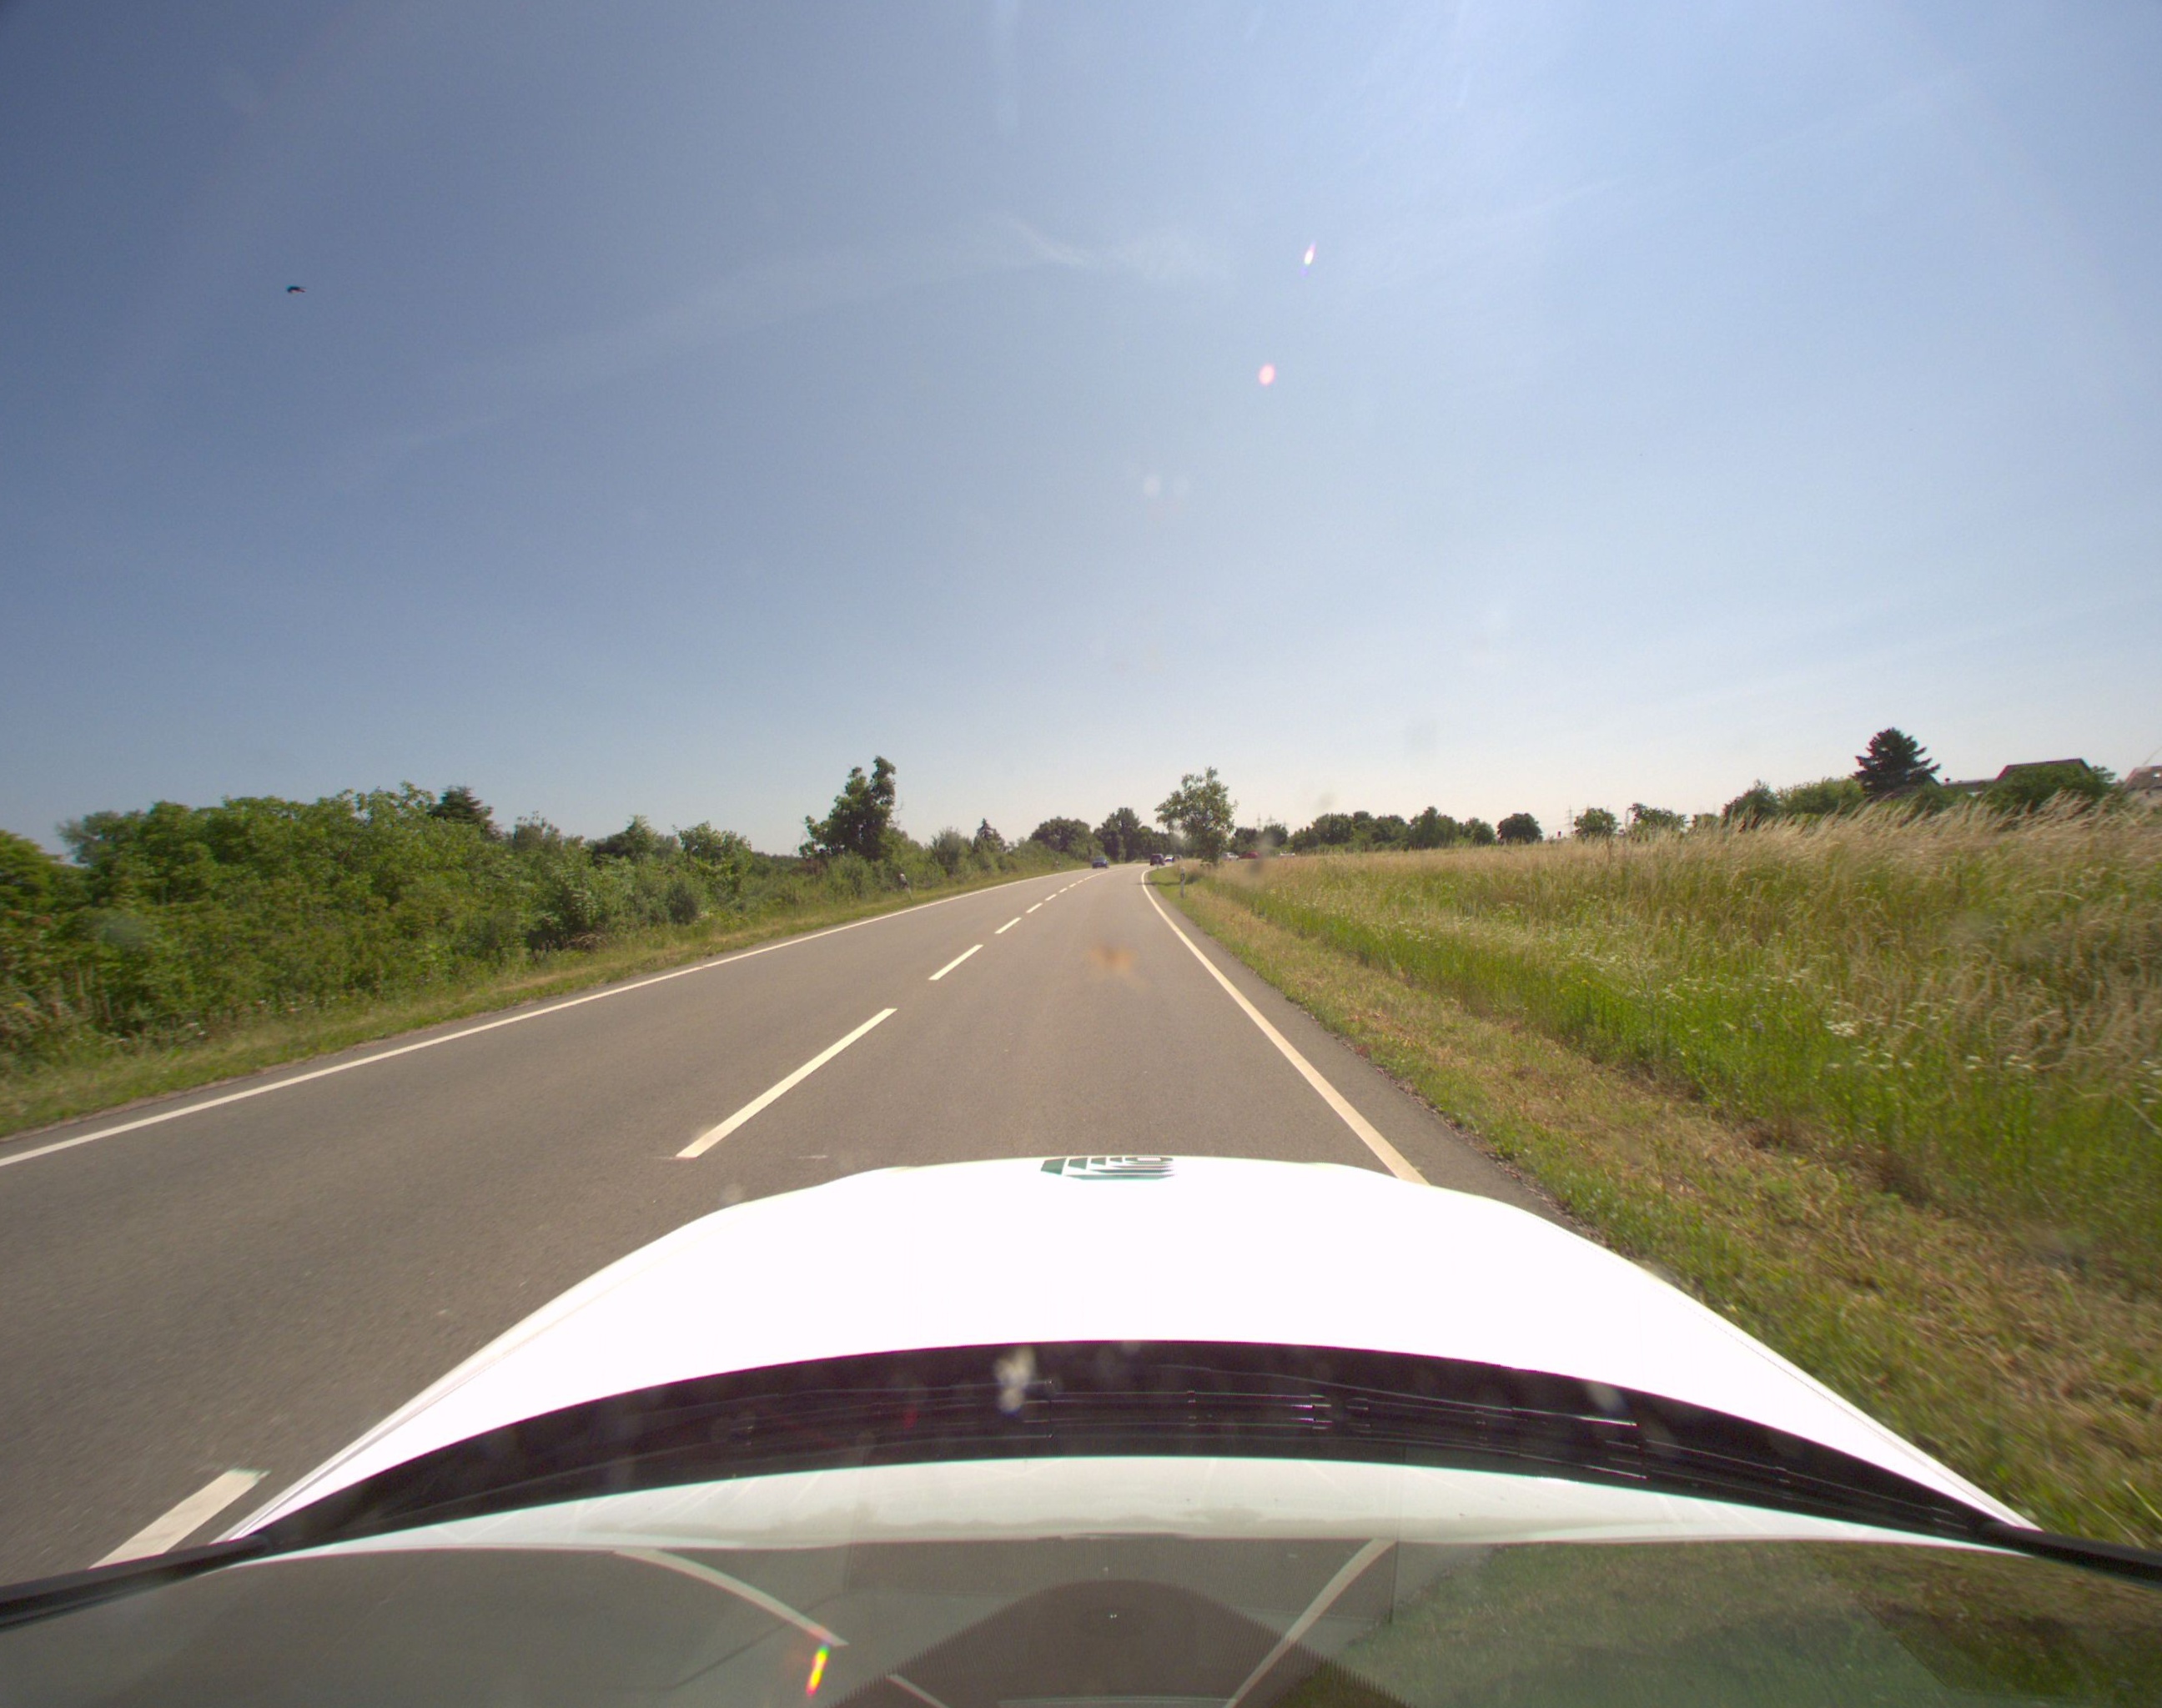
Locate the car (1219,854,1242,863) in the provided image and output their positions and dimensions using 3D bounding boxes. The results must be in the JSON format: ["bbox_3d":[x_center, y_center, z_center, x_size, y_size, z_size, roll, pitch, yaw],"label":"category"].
[{"bbox_3d":[28.145,0.823,153.552,4.163,1.623,2.047,-2,-1,-39],"label":"car"}]

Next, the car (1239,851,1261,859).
[{"bbox_3d":[35.468,0.198,171.185,4.115,1.418,1.790,-2,-1,25],"label":"car"}]

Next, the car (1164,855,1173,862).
[{"bbox_3d":[18.983,0.955,177.295,1.825,1.418,4.726,-1,0,8],"label":"car"}]

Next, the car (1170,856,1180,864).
[{"bbox_3d":[17.576,1.115,151.918,1.633,1.341,4.051,-1,-1,10],"label":"car"}]

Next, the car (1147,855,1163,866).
[{"bbox_3d":[10.589,0.909,116.705,1.873,1.518,4.051,-1,-1,10],"label":"car"}]

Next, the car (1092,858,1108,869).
[{"bbox_3d":[2.263,1.117,96.536,1.685,1.362,3.829,-1,0,3],"label":"car"}]
